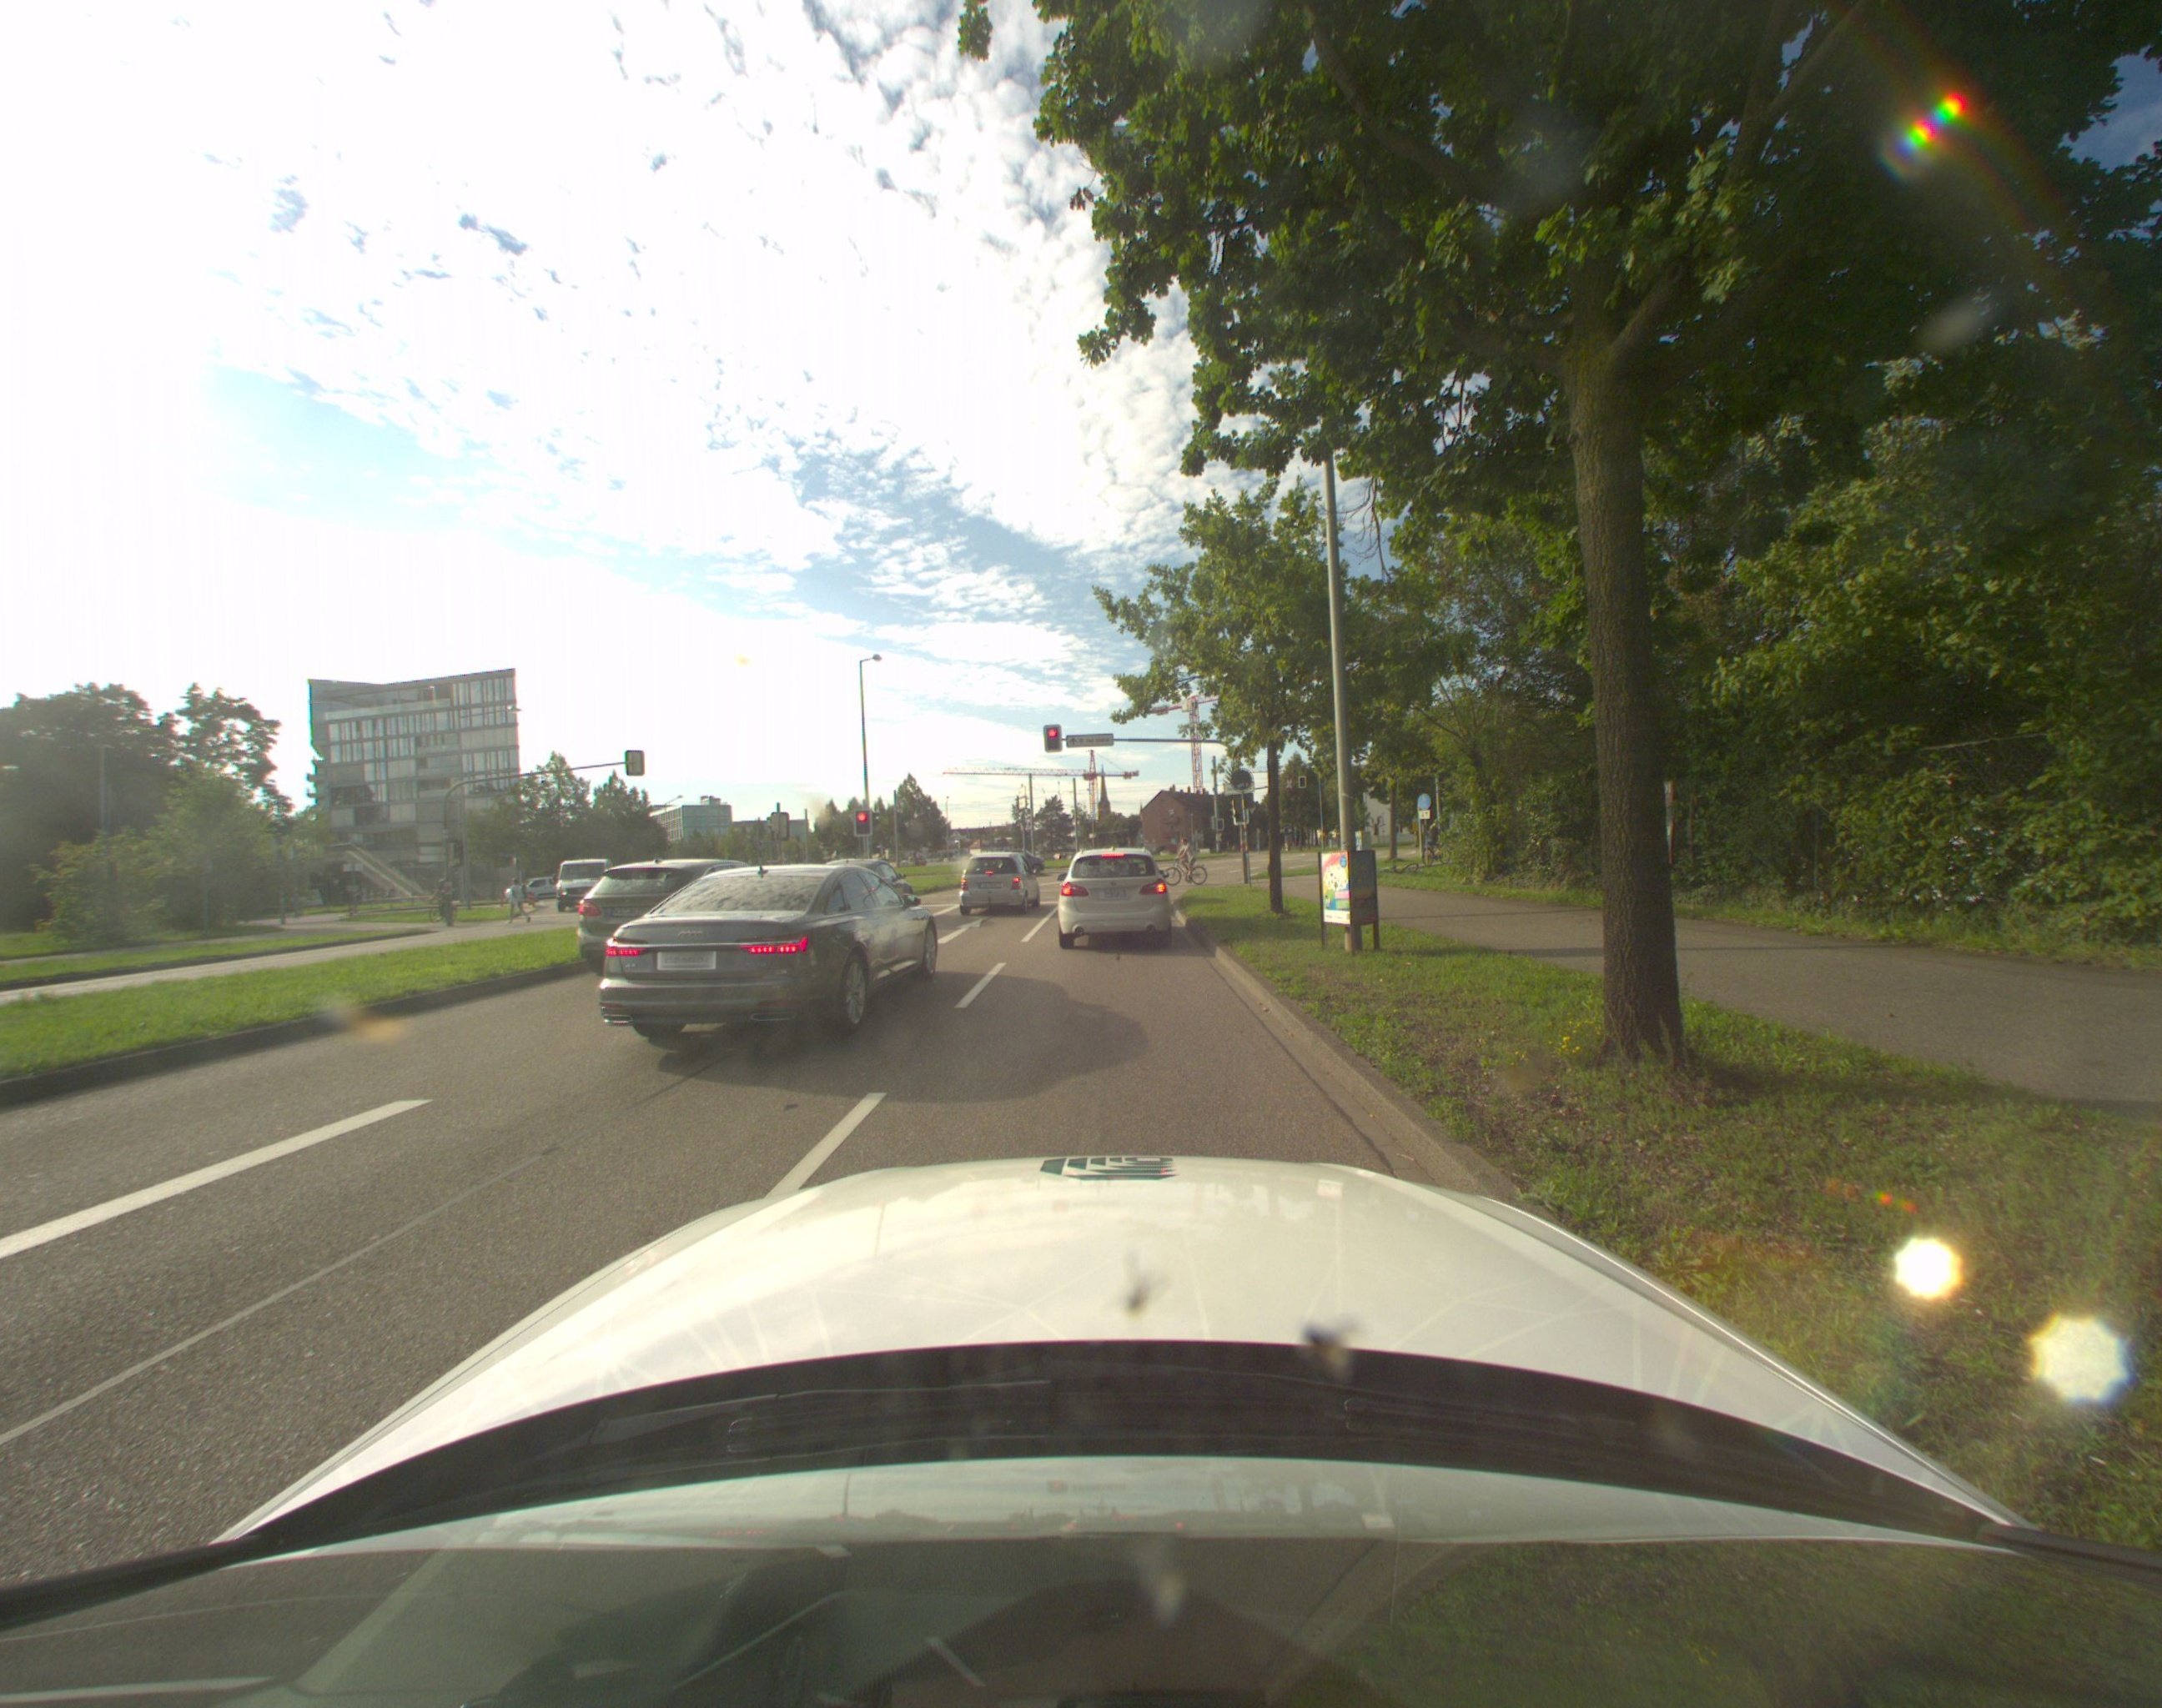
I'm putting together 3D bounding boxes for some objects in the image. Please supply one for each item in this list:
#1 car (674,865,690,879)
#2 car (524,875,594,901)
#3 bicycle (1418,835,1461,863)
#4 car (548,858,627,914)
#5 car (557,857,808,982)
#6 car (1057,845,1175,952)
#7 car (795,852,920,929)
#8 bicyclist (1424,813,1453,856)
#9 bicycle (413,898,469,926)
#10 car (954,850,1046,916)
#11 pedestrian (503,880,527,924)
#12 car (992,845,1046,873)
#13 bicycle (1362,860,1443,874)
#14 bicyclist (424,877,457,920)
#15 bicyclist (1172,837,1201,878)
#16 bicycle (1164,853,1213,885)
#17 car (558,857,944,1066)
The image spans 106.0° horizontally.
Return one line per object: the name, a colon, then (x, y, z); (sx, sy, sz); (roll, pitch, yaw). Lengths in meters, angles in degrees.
car: (-48.150, 2.158, 98.283); (1.600, 1.415, 3.638); (-5, -1, -25)
car: (-40.859, 2.659, 63.799); (1.974, 1.747, 4.155); (-3, 0, 42)
bicycle: (14.417, -0.192, 32.739); (1.783, 1.050, 0.703); (-2, 0, -34)
car: (-22.959, 1.455, 38.119); (2.001, 2.235, 5.882); (-4, 0, -21)
car: (-5.855, 0.862, 12.587); (1.722, 1.558, 4.021); (-2, 0, 2)
car: (0.579, 0.655, 14.231); (1.723, 1.558, 4.059); (-2, 0, 2)
car: (-5.132, 0.779, 19.241); (1.714, 1.564, 3.880); (-1, 1, 2)
bicyclist: (14.355, -0.783, 32.716); (0.836, 1.647, 0.678); (-2, 0, -34)
bicycle: (-25.899, 2.348, 32.965); (1.670, 0.967, 0.643); (-3, 0, -4)
car: (-2.051, 0.682, 21.747); (1.721, 1.558, 4.063); (-1, 0, 4)
pedestrian: (-20.935, 1.781, 30.113); (0.659, 1.569, 0.609); (-3, -1, -35)
car: (-3.767, 0.288, 49.529); (3.182, 1.574, 1.572); (-2, 1, -4)
bicycle: (10.737, 0.424, 27.337); (1.407, 0.385, 2.568); (-3, 0, -9)
bicyclist: (-25.924, 1.785, 32.976); (0.786, 1.668, 0.549); (-3, 0, -3)
bicyclist: (4.099, 0.138, 31.688); (0.850, 1.526, 0.737); (-3, 0, -15)
bicycle: (4.176, 0.570, 31.697); (1.728, 1.163, 0.652); (-3, 0, -15)
car: (-2.809, 0.797, 8.265); (1.883, 1.483, 4.614); (-2, 0, 2)
